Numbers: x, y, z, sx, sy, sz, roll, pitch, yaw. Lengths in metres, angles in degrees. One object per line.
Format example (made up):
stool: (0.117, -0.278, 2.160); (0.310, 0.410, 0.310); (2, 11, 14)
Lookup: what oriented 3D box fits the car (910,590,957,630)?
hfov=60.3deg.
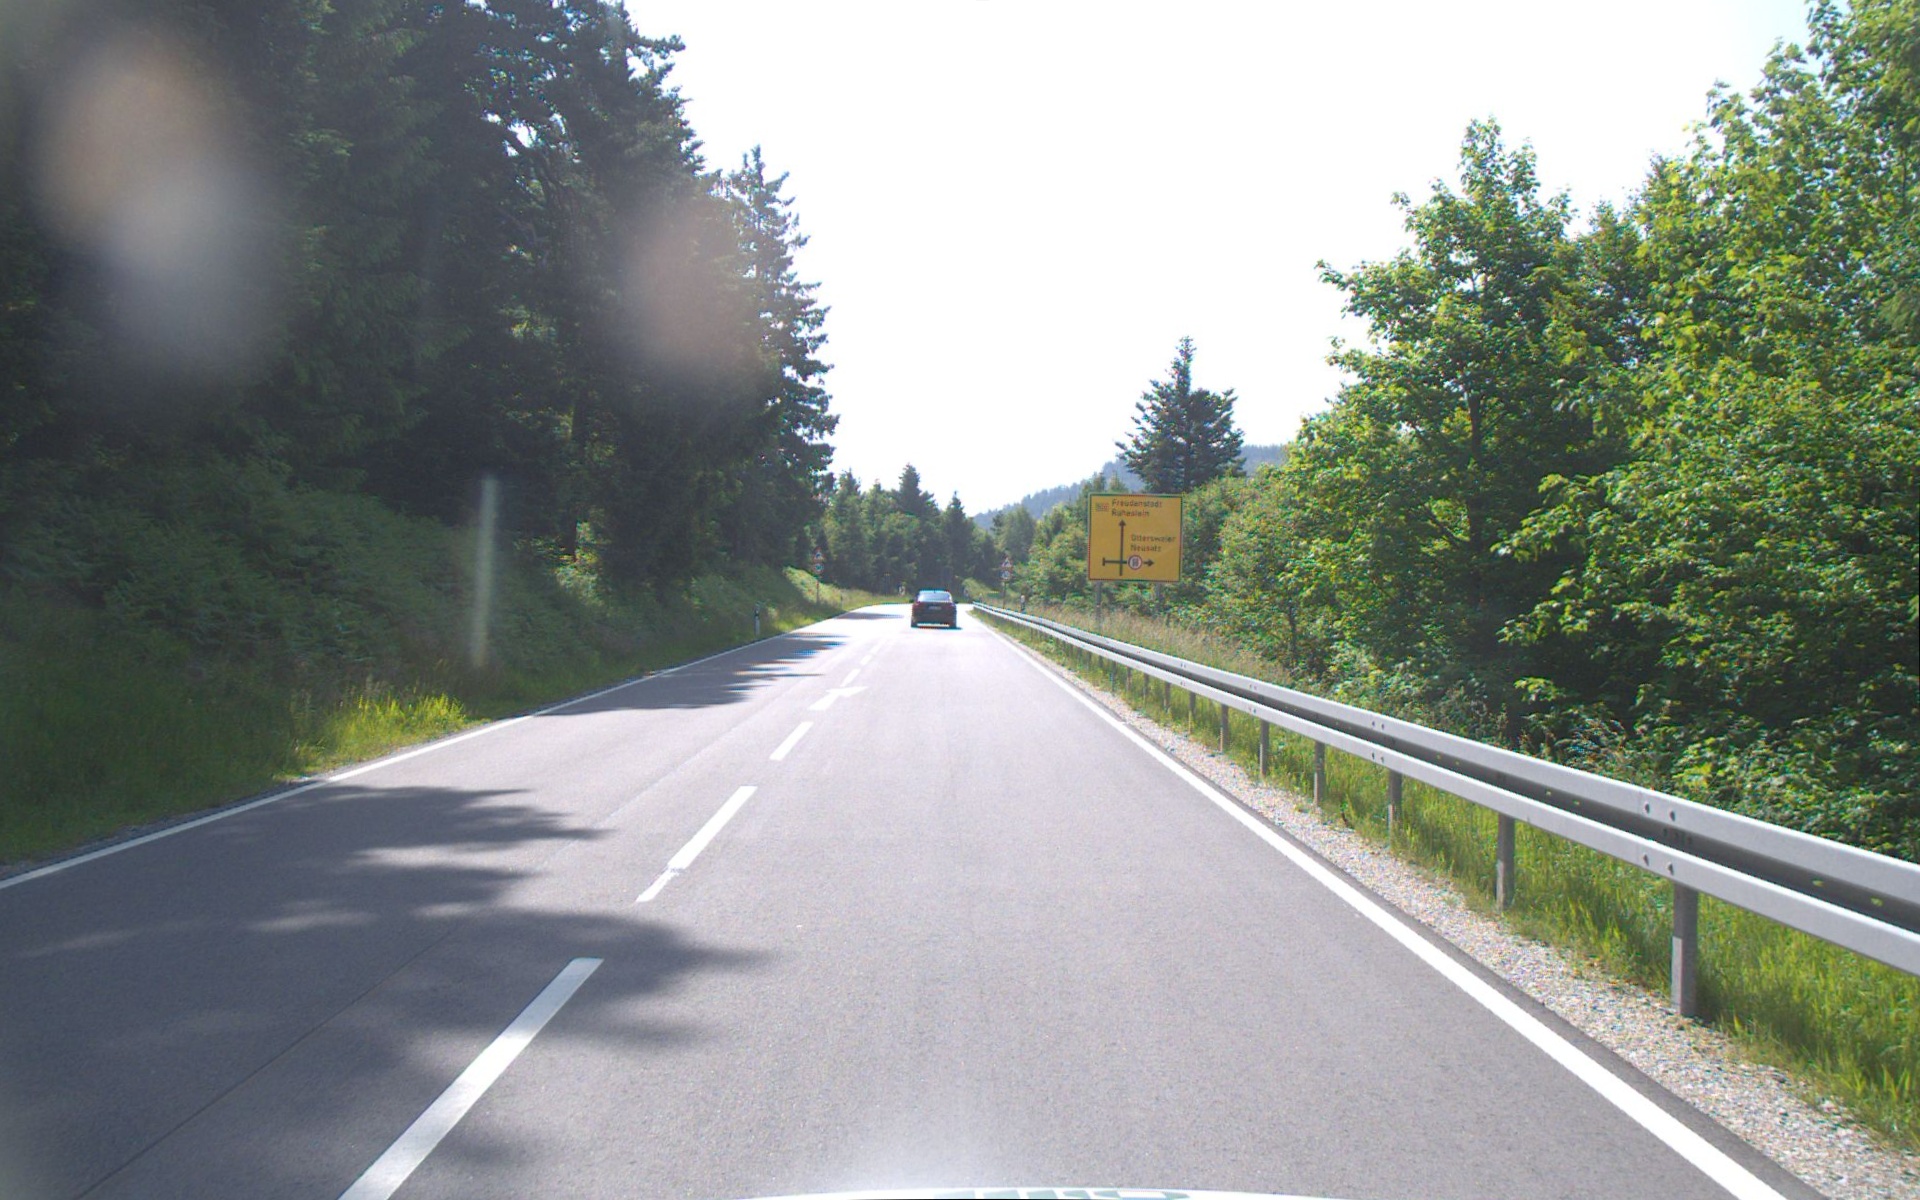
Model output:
car: (-0.996, 0.390, 64.767); (1.739, 1.467, 3.709); (1, 0, 0)
